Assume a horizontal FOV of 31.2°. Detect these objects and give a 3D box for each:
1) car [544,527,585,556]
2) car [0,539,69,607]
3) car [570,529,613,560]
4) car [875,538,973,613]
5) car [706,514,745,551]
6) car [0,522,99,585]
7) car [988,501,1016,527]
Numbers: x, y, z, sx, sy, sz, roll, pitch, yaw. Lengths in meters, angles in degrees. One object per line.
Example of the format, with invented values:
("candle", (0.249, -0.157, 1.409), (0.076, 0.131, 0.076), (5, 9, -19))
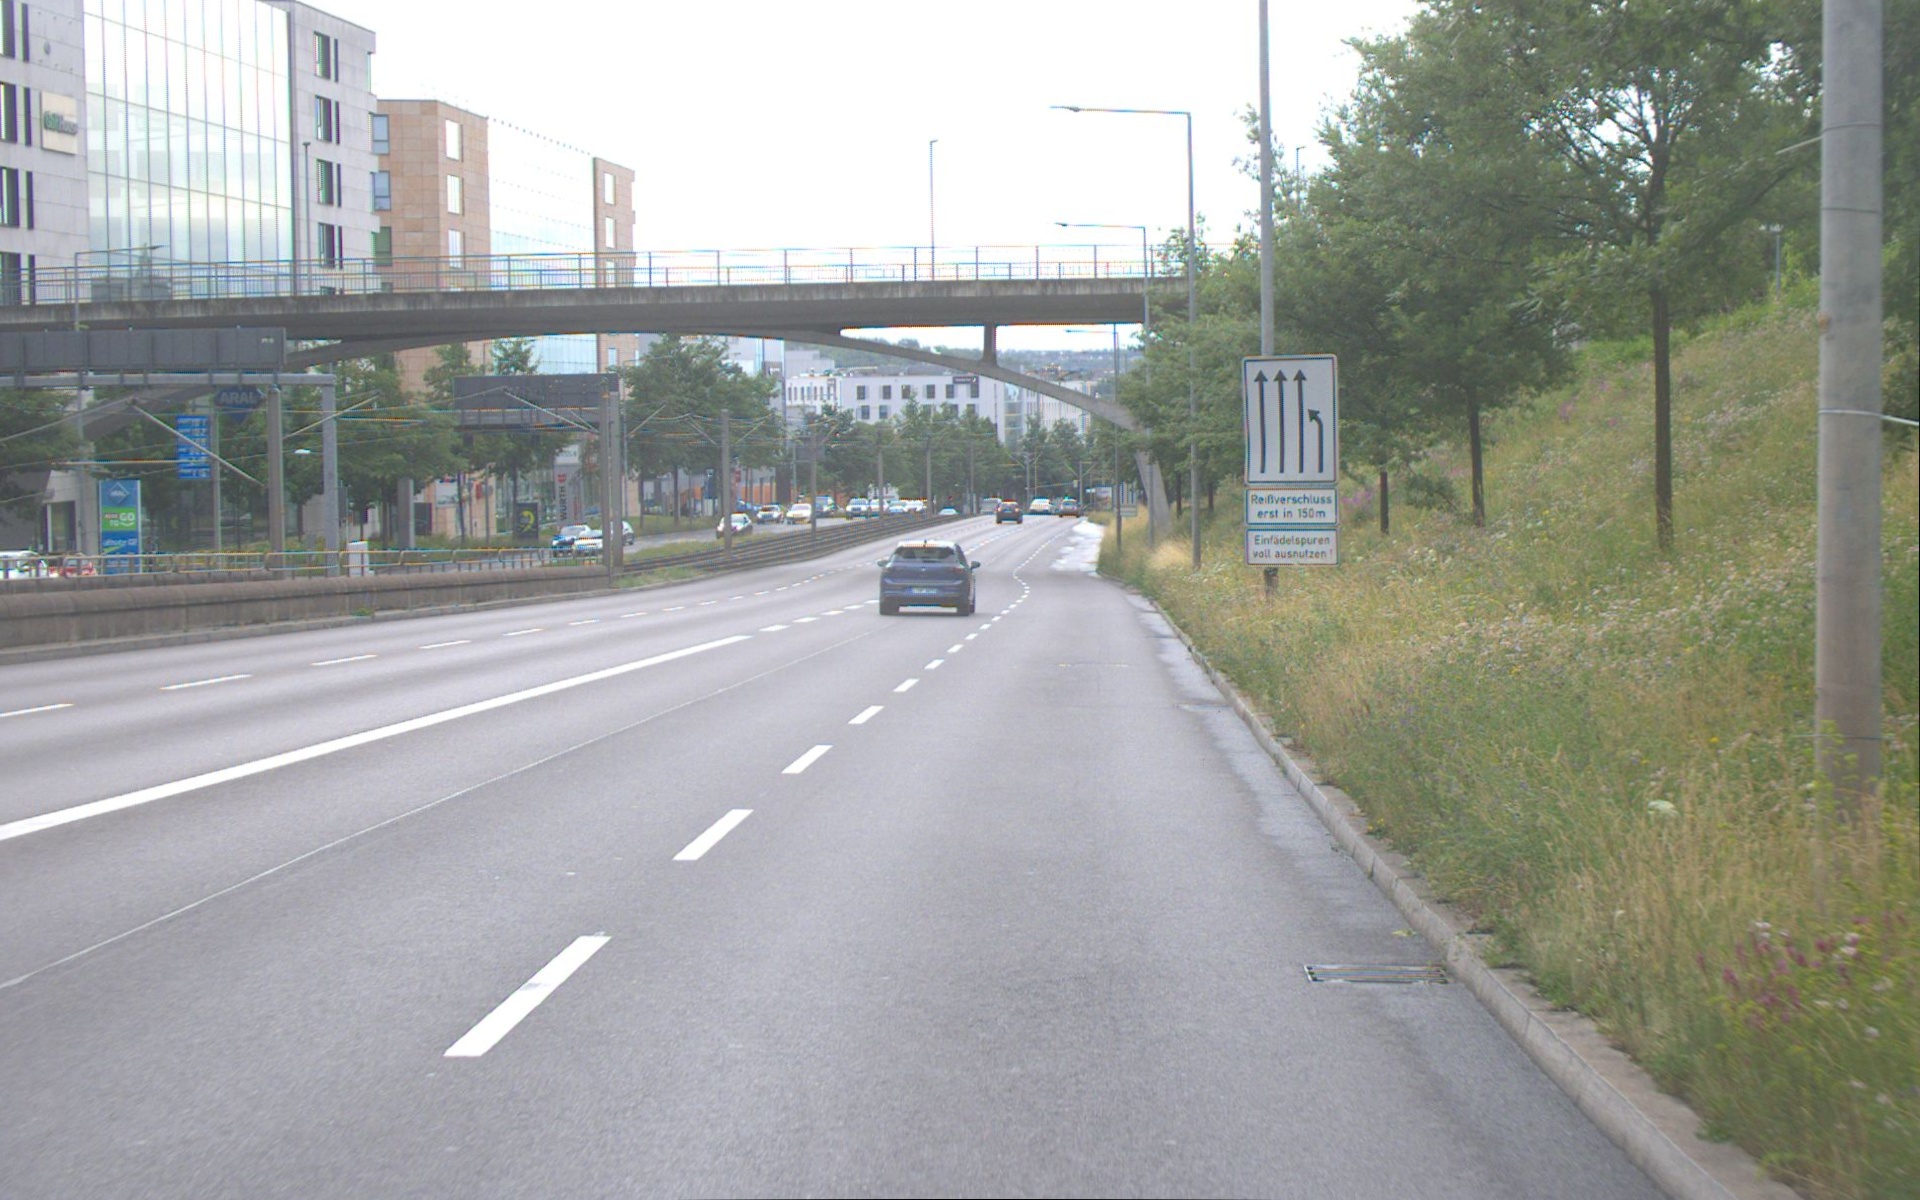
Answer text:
("car", (-19.970, -2.974, 173.585), (1.518, 1.415, 3.478), (0, 2, 2))
("car", (-23.329, -0.645, 83.360), (1.994, 1.579, 3.999), (-1, 1, 7))
("car", (-17.392, -2.616, 162.218), (1.518, 1.415, 3.478), (0, 2, 2))
("car", (-0.689, -0.503, 67.683), (1.749, 1.415, 3.478), (-1, 1, 2))
("car", (-14.223, -4.093, 208.801), (1.993, 2.006, 4.001), (2, 4, 1))
("car", (-26.823, -1.389, 100.962), (1.993, 1.771, 4.103), (1, 1, 0))
("car", (3.073, -6.348, 252.837), (1.862, 1.743, 4.001), (1, 4, -1))
